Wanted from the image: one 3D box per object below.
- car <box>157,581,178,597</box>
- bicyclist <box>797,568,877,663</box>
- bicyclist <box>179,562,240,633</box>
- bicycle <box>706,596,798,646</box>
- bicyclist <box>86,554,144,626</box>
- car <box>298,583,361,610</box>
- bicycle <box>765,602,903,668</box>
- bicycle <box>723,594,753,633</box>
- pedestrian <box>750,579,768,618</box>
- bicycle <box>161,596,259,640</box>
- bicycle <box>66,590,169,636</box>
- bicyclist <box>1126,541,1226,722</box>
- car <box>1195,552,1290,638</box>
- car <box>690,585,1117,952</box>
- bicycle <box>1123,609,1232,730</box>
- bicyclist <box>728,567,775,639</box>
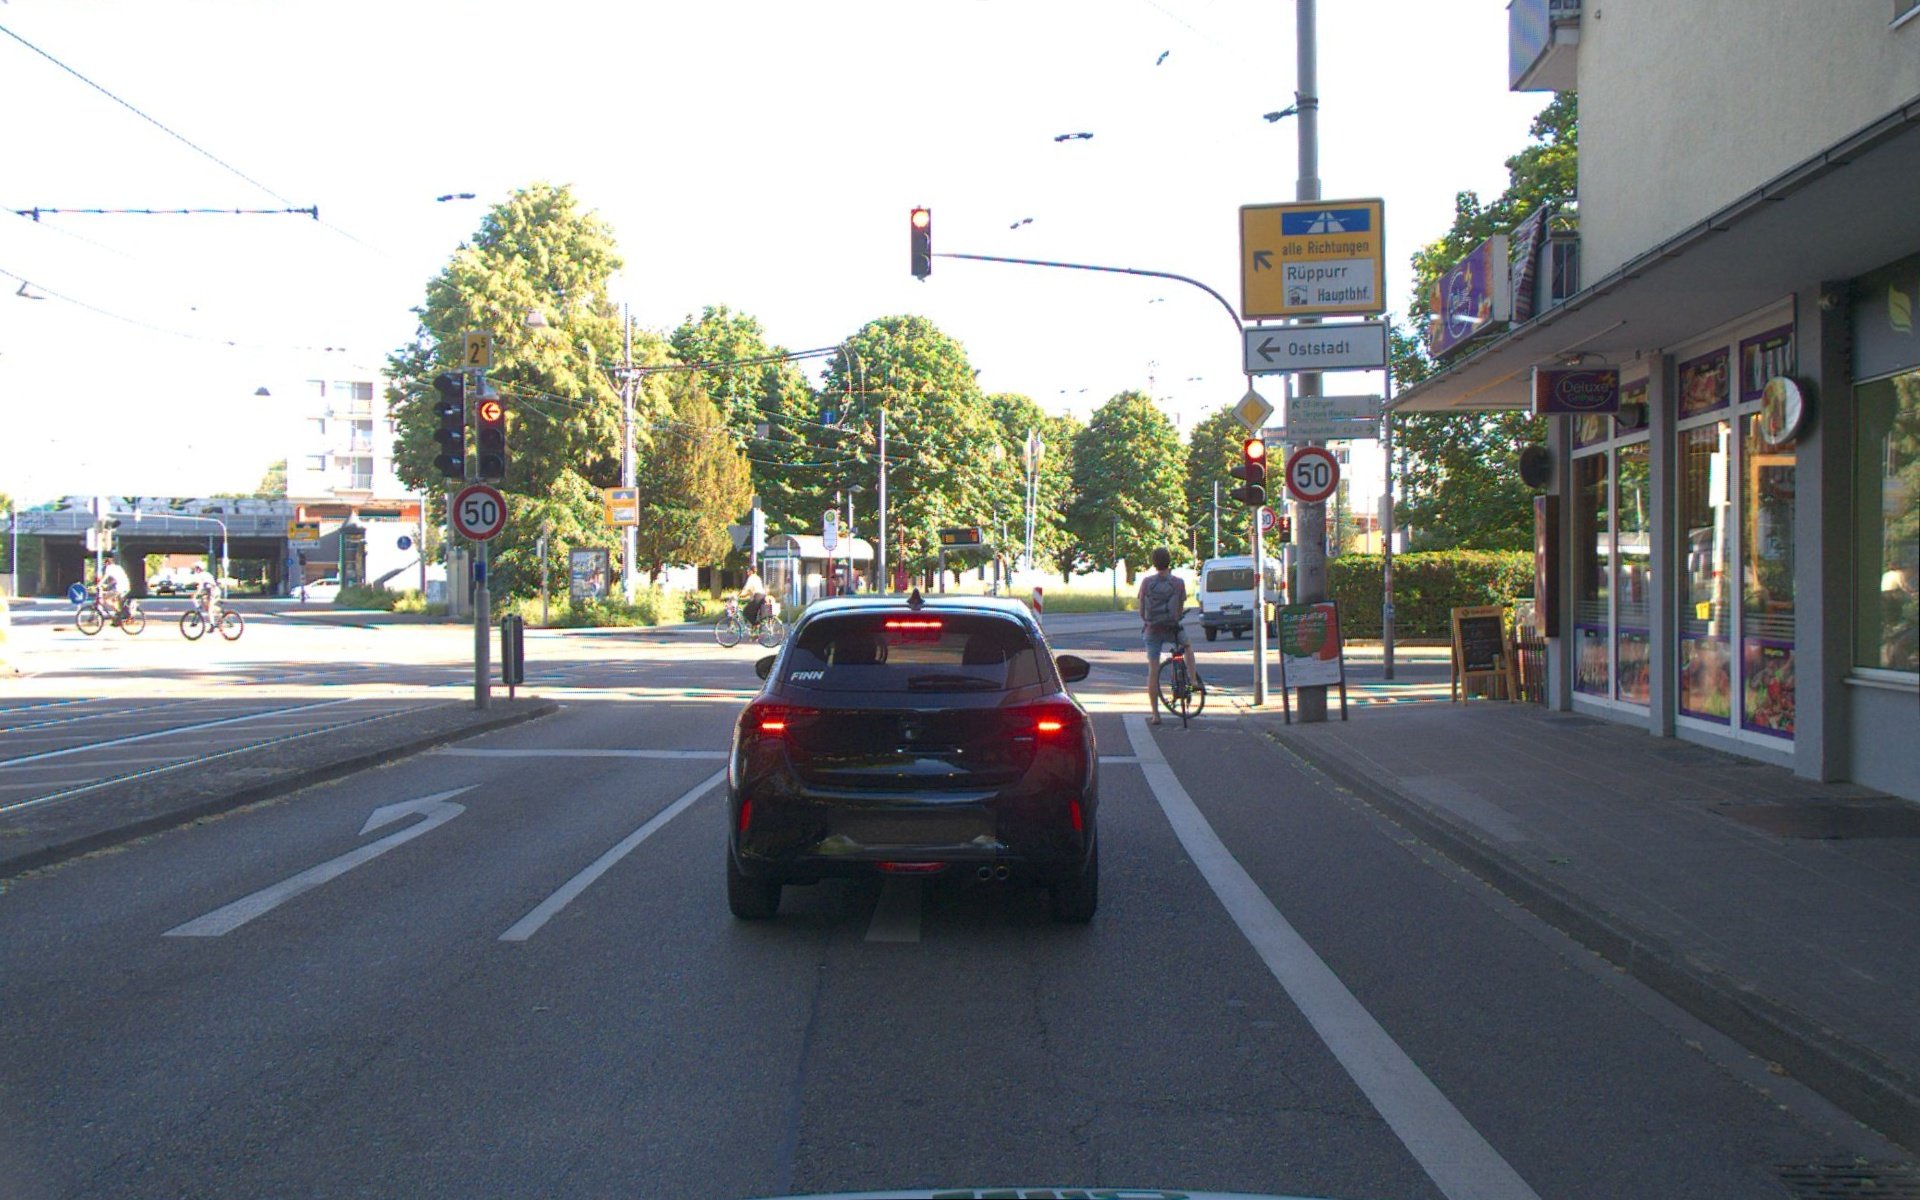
[{"bbox_3d":[-91.935,-1.274,191.825,2.186,1.855,4.112,-1,1,-26],"label":"car"},{"bbox_3d":[-2.075,0.250,27.793,1.098,1.547,0.915,-1,0,-24],"label":"bicyclist"},{"bbox_3d":[-17.199,-0.052,37.920,0.988,1.598,0.800,0,0,10],"label":"bicyclist"},{"bbox_3d":[-4.706,0.467,37.385,2.012,1.113,0.592,0,0,21],"label":"bicycle"},{"bbox_3d":[-20.733,-0.243,40.607,0.907,1.737,0.876,0,0,11],"label":"bicyclist"},{"bbox_3d":[-44.293,-0.235,116.234,4.116,1.836,1.725,-1,1,-22],"label":"car"},{"bbox_3d":[-2.113,0.569,27.808,2.162,1.051,0.828,-1,0,-24],"label":"bicycle"},{"bbox_3d":[-6.215,0.377,46.378,0.593,1.049,1.982,0,1,-1],"label":"bicycle"},{"bbox_3d":[-8.807,-0.063,72.447,0.623,1.658,0.572,1,0,6],"label":"pedestrian"},{"bbox_3d":[-17.196,0.414,37.924,2.014,1.001,0.673,0,0,10],"label":"bicycle"},{"bbox_3d":[-20.679,0.325,40.601,2.244,1.103,0.801,0,0,12],"label":"bicycle"},{"bbox_3d":[2.304,0.326,17.755,0.922,1.883,0.864,-1,0,-1],"label":"bicyclist"},{"bbox_3d":[8.015,-0.161,46.583,2.020,2.288,4.890,0,1,17],"label":"car"},{"bbox_3d":[-0.244,0.662,8.706,1.692,1.454,4.186,1,0,-1],"label":"car"},{"bbox_3d":[2.311,0.707,17.831,0.842,1.173,2.171,-1,1,-1],"label":"bicycle"},{"bbox_3d":[-4.698,0.061,37.351,0.843,1.623,0.649,0,0,21],"label":"bicyclist"}]
